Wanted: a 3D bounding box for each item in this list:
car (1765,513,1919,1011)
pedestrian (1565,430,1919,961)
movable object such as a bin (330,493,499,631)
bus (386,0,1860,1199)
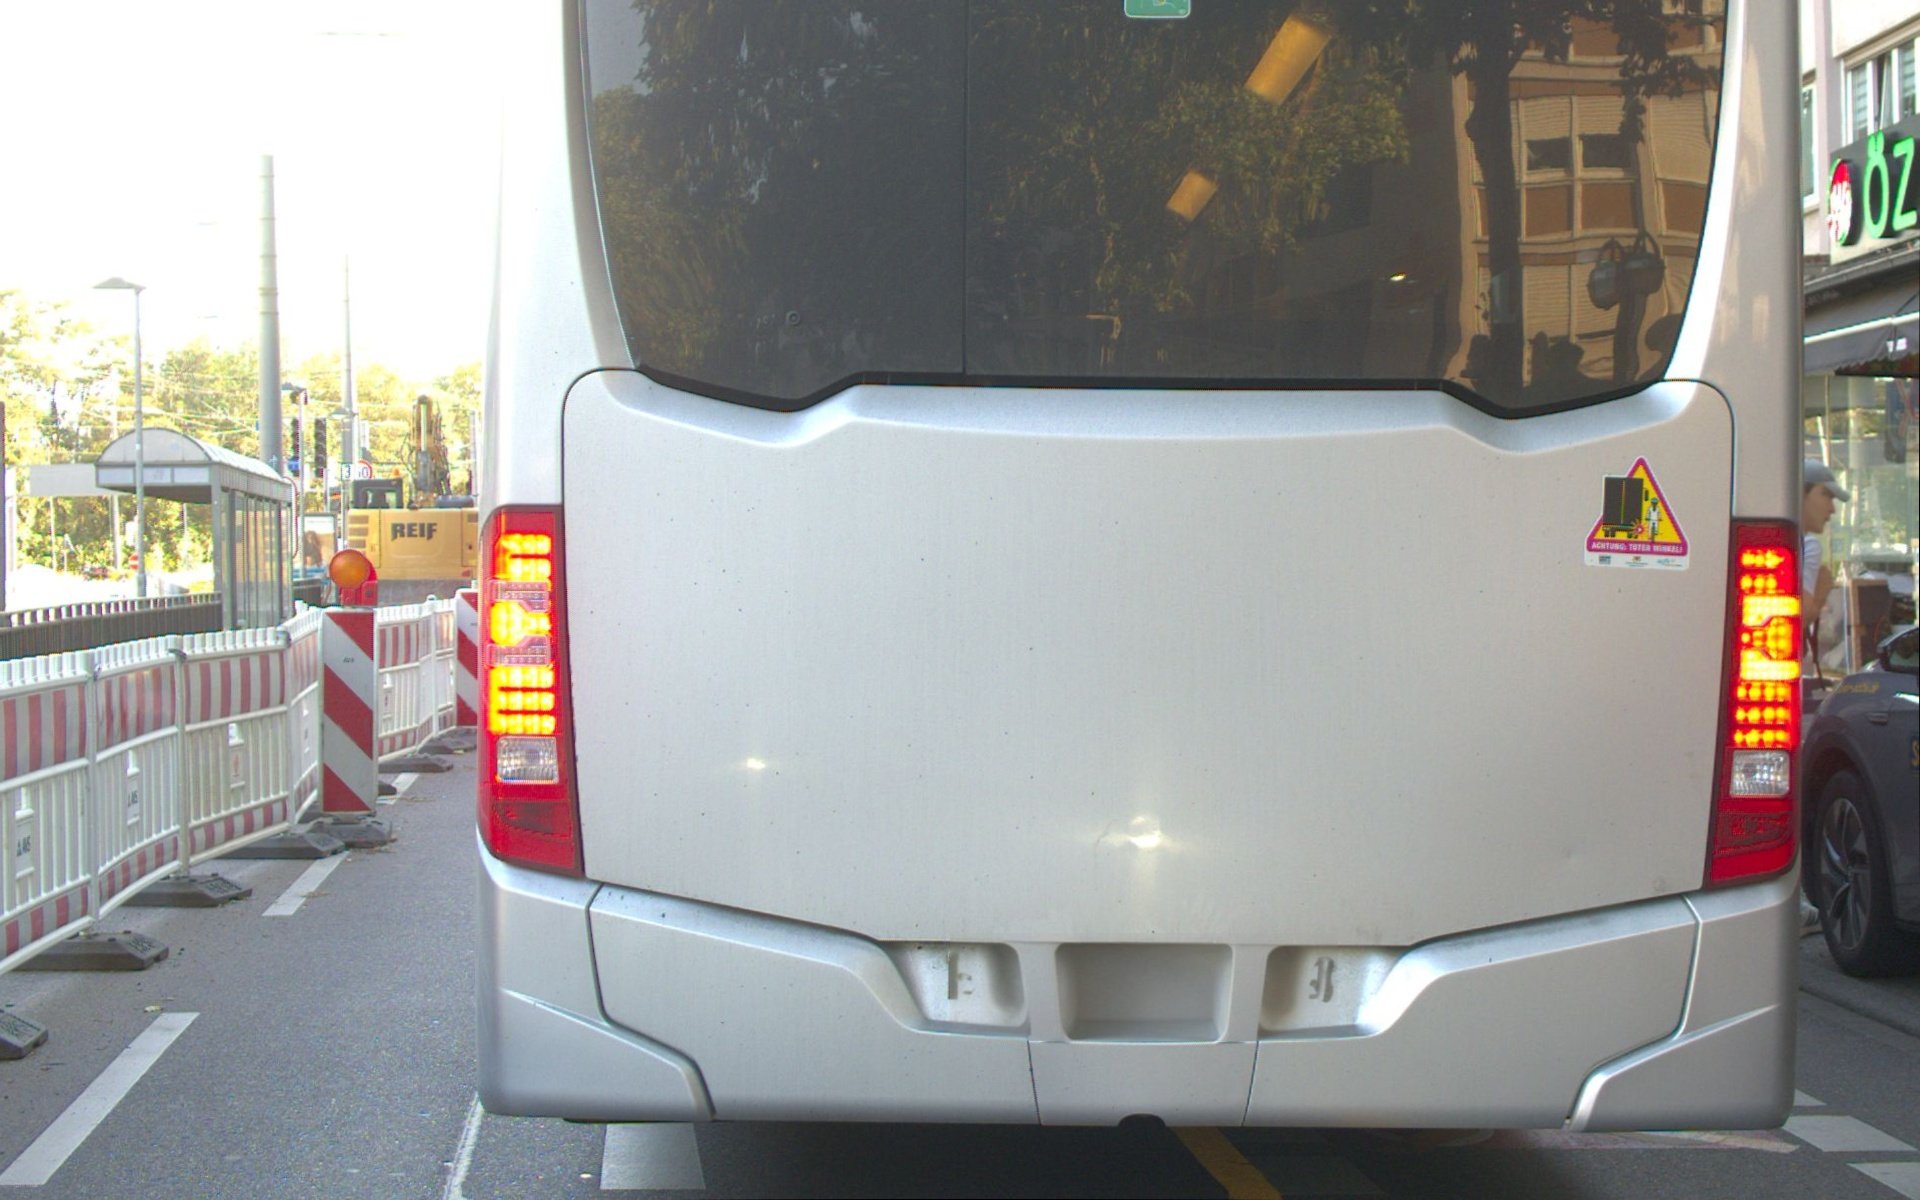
[{"bbox_3d":[3.992,0.494,10.294,1.739,1.592,4.300,-3,1,-5],"label":"car"},{"bbox_3d":[3.043,0.328,12.892,1.119,1.883,1.025,-1,0,-24],"label":"pedestrian"},{"bbox_3d":[-10.053,-0.713,63.661,2.806,2.453,4.001,-1,1,-5],"label":"movable object such as a bin"},{"bbox_3d":[0.264,-0.285,11.238,2.608,3.159,10.292,0,1,0],"label":"bus"}]
